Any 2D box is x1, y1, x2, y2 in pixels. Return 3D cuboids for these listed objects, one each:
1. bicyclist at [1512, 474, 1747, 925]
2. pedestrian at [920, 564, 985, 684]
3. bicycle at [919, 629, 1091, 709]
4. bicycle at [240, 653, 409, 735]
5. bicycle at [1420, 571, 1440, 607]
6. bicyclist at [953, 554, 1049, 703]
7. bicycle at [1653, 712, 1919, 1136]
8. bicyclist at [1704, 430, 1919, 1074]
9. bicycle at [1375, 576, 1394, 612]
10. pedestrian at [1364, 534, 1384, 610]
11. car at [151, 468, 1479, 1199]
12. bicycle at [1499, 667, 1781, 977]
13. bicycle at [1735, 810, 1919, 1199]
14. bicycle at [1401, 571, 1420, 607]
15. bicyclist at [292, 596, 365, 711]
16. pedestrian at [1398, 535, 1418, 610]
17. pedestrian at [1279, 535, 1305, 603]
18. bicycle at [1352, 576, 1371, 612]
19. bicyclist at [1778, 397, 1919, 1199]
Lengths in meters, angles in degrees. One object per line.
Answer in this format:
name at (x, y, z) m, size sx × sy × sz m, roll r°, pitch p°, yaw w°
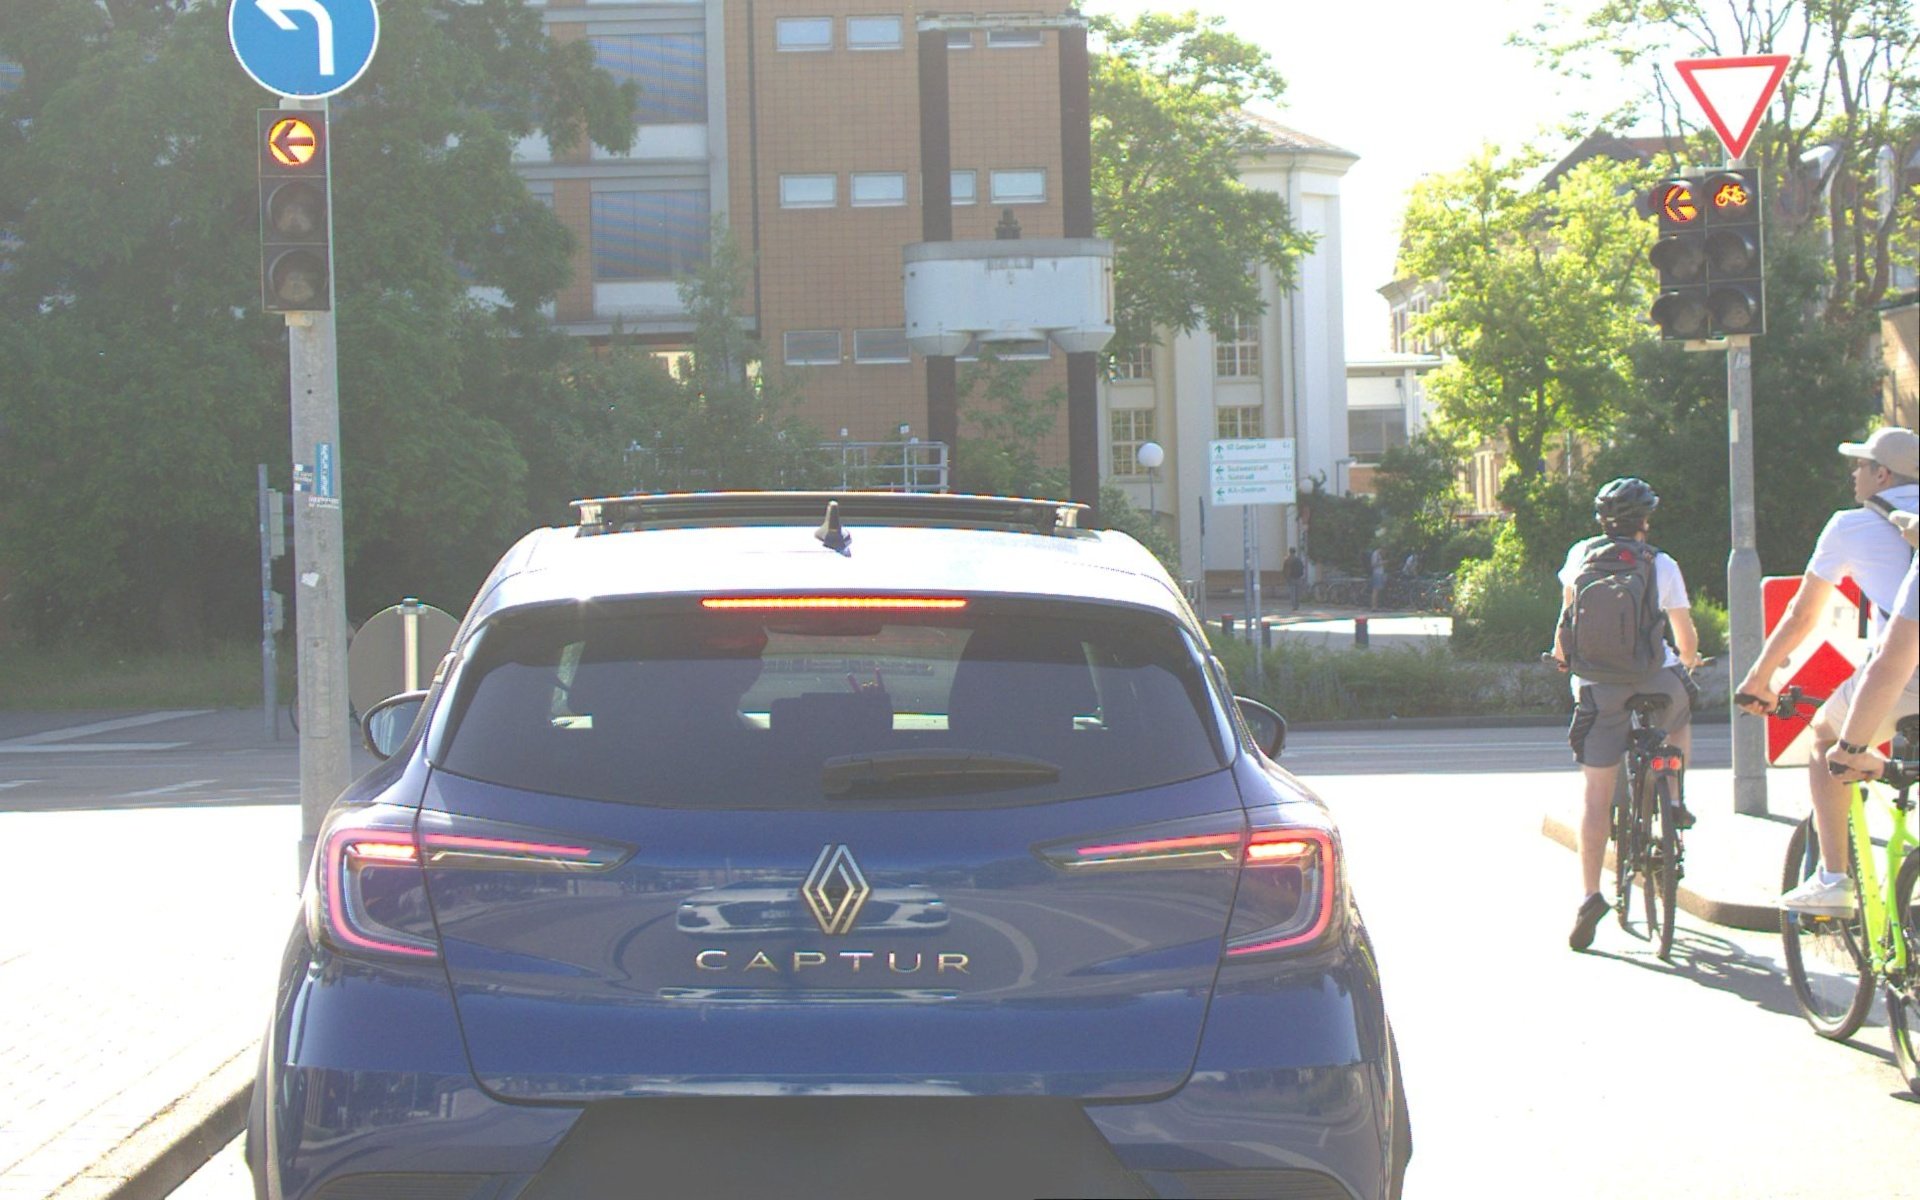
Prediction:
bicyclist at (2.502, 0.356, 12.941) m, size 0.726 × 1.623 × 0.969 m, roll 1°, pitch 0°, yaw 4°
pedestrian at (-0.094, 0.315, 46.438) m, size 0.737 × 1.598 × 0.598 m, roll -1°, pitch 1°, yaw 12°
bicycle at (0.575, 0.882, 43.863) m, size 2.082 × 0.927 × 0.696 m, roll -2°, pitch 2°, yaw 11°
bicycle at (-8.088, 1.190, 43.764) m, size 2.005 × 0.961 × 0.598 m, roll -2°, pitch 1°, yaw -27°
bicycle at (12.907, -0.297, 94.412) m, size 0.405 × 0.969 × 1.683 m, roll 1°, pitch 1°, yaw 4°
bicyclist at (0.526, 0.362, 43.859) m, size 1.102 × 1.861 × 0.652 m, roll -1°, pitch 1°, yaw 10°
bicycle at (2.607, 0.866, 9.816) m, size 0.659 × 0.999 × 1.970 m, roll 1°, pitch 1°, yaw -6°
bicyclist at (2.617, 0.407, 9.805) m, size 0.645 × 1.733 × 1.067 m, roll 1°, pitch 0°, yaw -6°
bicycle at (11.603, -0.168, 94.032) m, size 0.405 × 0.969 × 1.683 m, roll 1°, pitch 1°, yaw 4°
pedestrian at (10.974, -0.751, 91.071) m, size 0.475 × 2.007 × 0.523 m, roll -1°, pitch 1°, yaw 6°
car at (-0.273, 0.614, 6.691) m, size 1.803 × 1.626 × 4.000 m, roll 0°, pitch 1°, yaw -2°
bicycle at (2.505, 0.782, 12.896) m, size 0.739 × 0.992 × 2.173 m, roll 1°, pitch 1°, yaw 3°
bicycle at (2.222, 0.964, 7.252) m, size 0.740 × 0.893 × 1.978 m, roll 1°, pitch 1°, yaw 1°
bicycle at (12.371, -0.304, 94.398) m, size 0.405 × 0.969 × 1.683 m, roll 1°, pitch 1°, yaw 4°
bicyclist at (-8.041, 0.676, 43.782) m, size 0.737 × 1.436 × 0.598 m, roll -2°, pitch 1°, yaw -27°
pedestrian at (12.028, -0.749, 92.390) m, size 0.475 × 2.007 × 0.468 m, roll -1°, pitch 1°, yaw 6°
pedestrian at (9.167, -0.864, 94.934) m, size 0.623 × 1.849 × 0.563 m, roll -1°, pitch 1°, yaw 2°
bicycle at (10.981, -0.177, 94.076) m, size 0.405 × 0.969 × 1.683 m, roll 1°, pitch 1°, yaw 4°
bicyclist at (2.226, 0.435, 7.240) m, size 0.751 × 1.663 × 1.016 m, roll 1°, pitch 0°, yaw 1°
